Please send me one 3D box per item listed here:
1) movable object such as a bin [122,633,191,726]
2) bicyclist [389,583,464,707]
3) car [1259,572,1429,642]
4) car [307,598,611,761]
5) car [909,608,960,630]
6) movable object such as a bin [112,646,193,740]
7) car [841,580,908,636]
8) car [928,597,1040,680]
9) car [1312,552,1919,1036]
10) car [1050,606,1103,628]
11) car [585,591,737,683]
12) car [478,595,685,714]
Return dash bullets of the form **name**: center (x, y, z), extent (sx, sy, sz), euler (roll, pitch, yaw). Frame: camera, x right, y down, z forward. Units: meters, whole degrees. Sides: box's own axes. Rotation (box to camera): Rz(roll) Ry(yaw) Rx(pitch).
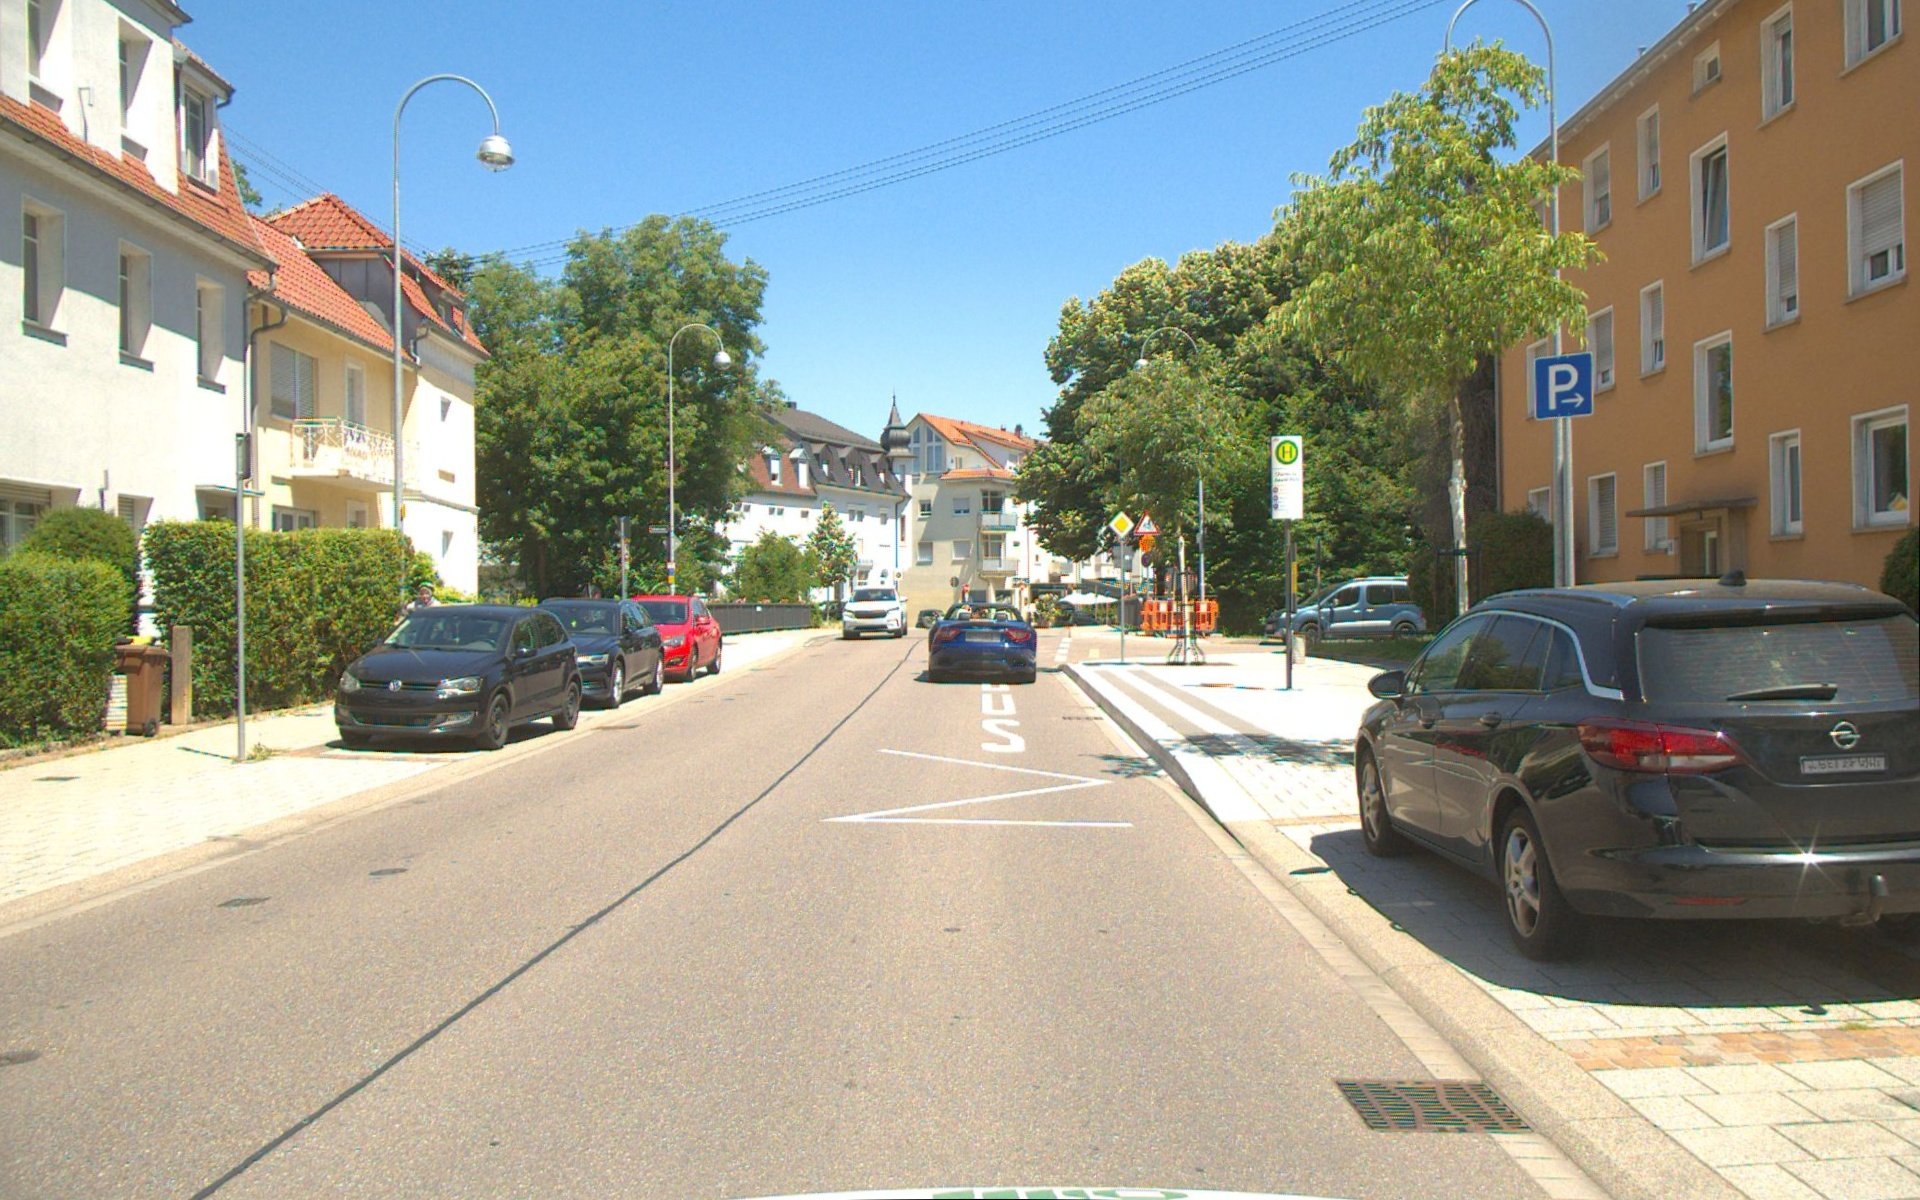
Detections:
- **movable object such as a bin**: center (-9.151, 0.900, 18.853), extent (0.457, 1.007, 0.614), euler (-1, 0, 1)
- **bicyclist**: center (-7.521, 0.623, 23.345), extent (0.766, 1.688, 0.835), euler (-1, 0, -1)
- **car**: center (10.561, 0.196, 45.629), extent (4.255, 1.871, 1.747), euler (0, -1, -8)
- **car**: center (-5.333, 0.770, 18.215), extent (1.750, 1.484, 4.200), euler (2, 1, 5)
- **car**: center (-1.818, 1.335, 117.866), extent (3.197, 1.484, 1.691), euler (-2, -1, 24)
- **movable object such as a bin**: center (-8.529, 0.974, 17.483), extent (0.484, 0.927, 0.706), euler (-1, 0, 1)
- **car**: center (-2.639, 0.227, 51.800), extent (1.839, 1.624, 4.359), euler (-2, 0, -1)
- **car**: center (0.429, 0.645, 29.571), extent (1.832, 1.366, 4.596), euler (0, 0, 1)
- **car**: center (3.161, 0.609, 7.989), extent (1.796, 1.530, 5.064), euler (-3, 0, 0)
- **car**: center (8.207, 1.181, 116.045), extent (1.685, 1.486, 4.110), euler (1, 0, 38)
- **car**: center (-5.421, 0.617, 30.569), extent (1.839, 1.505, 4.738), euler (2, 0, 1)
- **car**: center (-5.477, 0.712, 24.649), extent (1.825, 1.487, 5.307), euler (1, 1, 0)
